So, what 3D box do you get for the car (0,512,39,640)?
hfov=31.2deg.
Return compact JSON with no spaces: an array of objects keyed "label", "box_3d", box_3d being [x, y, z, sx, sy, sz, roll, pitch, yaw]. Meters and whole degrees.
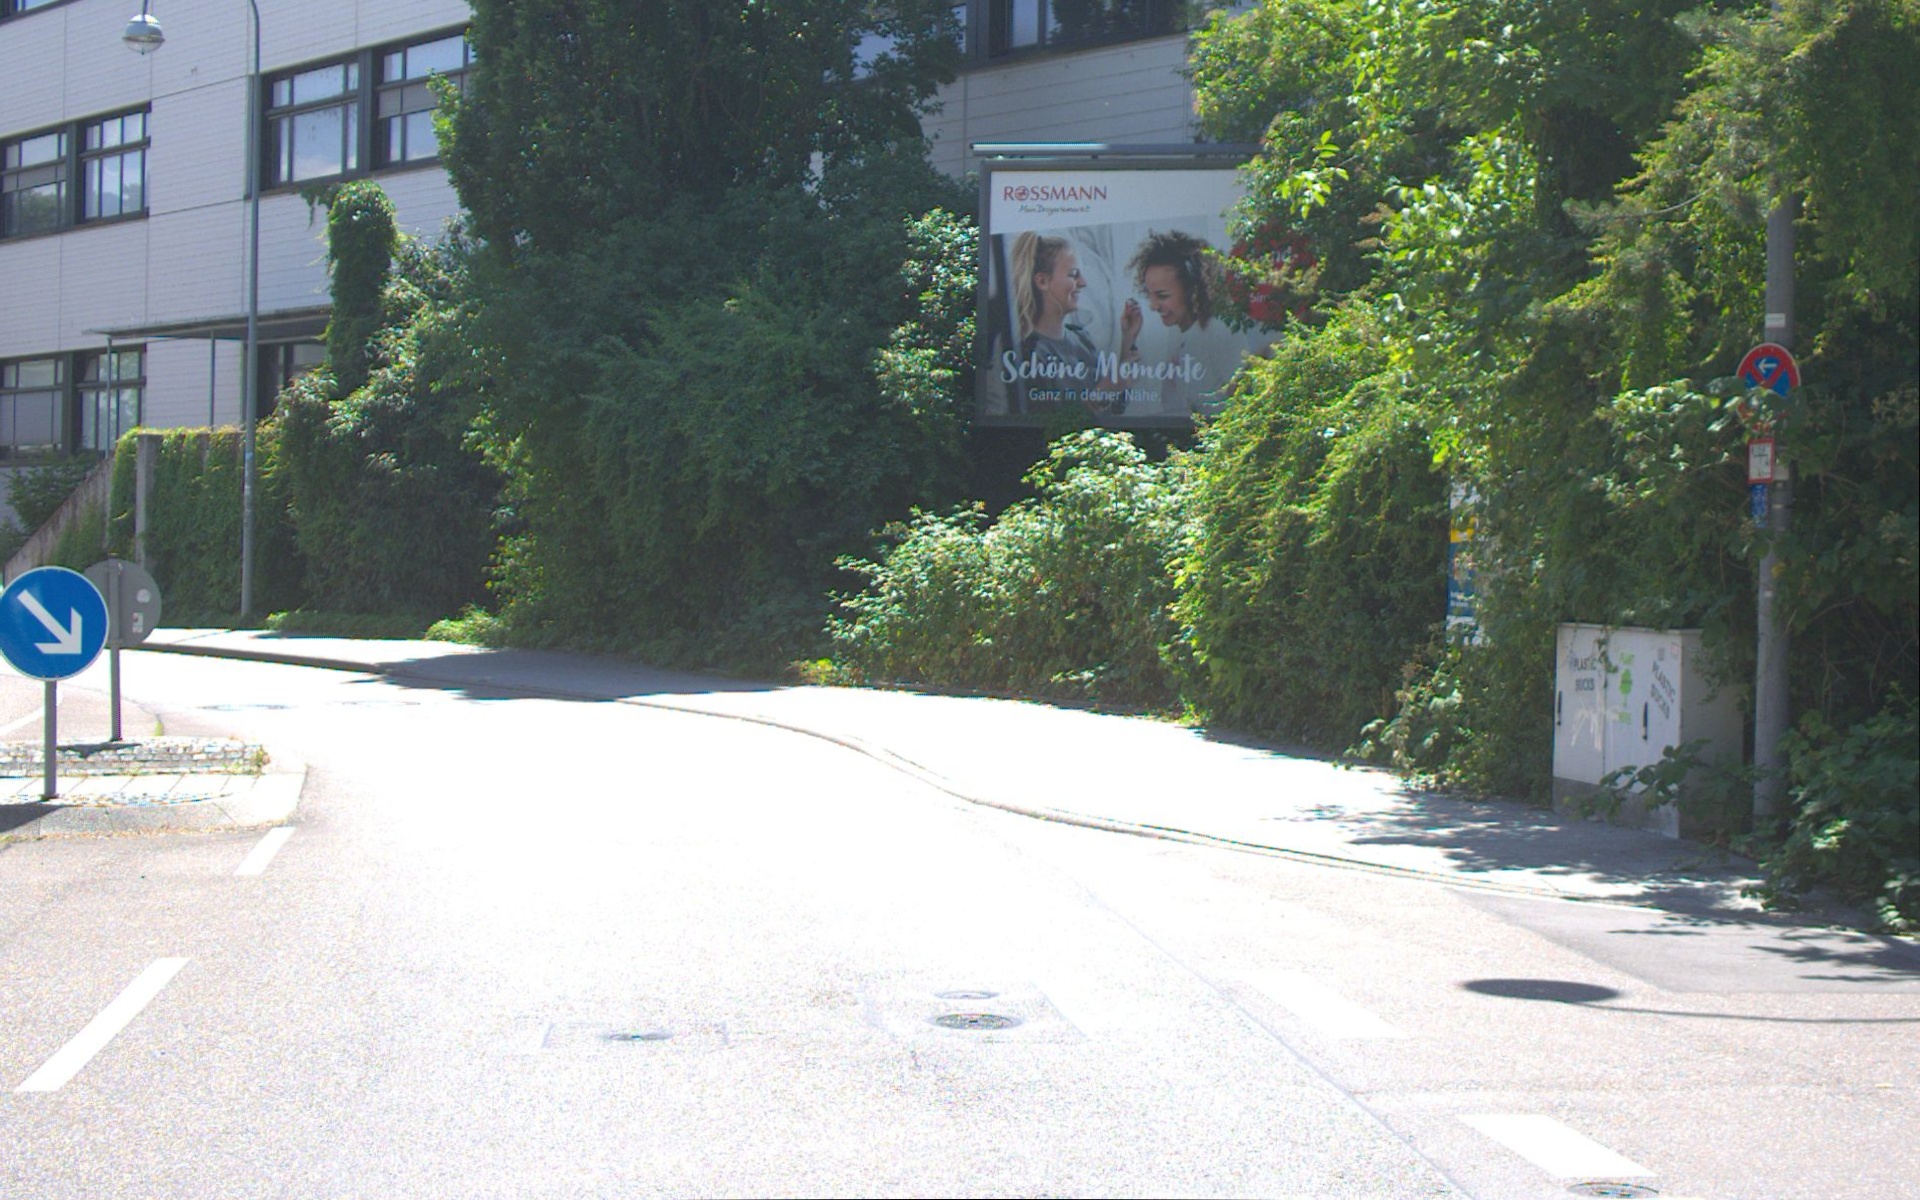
[{"label":"car","box_3d":[-14.200,-0.288,45.772,1.937,1.608,4.470,-7,6,-40]}]
